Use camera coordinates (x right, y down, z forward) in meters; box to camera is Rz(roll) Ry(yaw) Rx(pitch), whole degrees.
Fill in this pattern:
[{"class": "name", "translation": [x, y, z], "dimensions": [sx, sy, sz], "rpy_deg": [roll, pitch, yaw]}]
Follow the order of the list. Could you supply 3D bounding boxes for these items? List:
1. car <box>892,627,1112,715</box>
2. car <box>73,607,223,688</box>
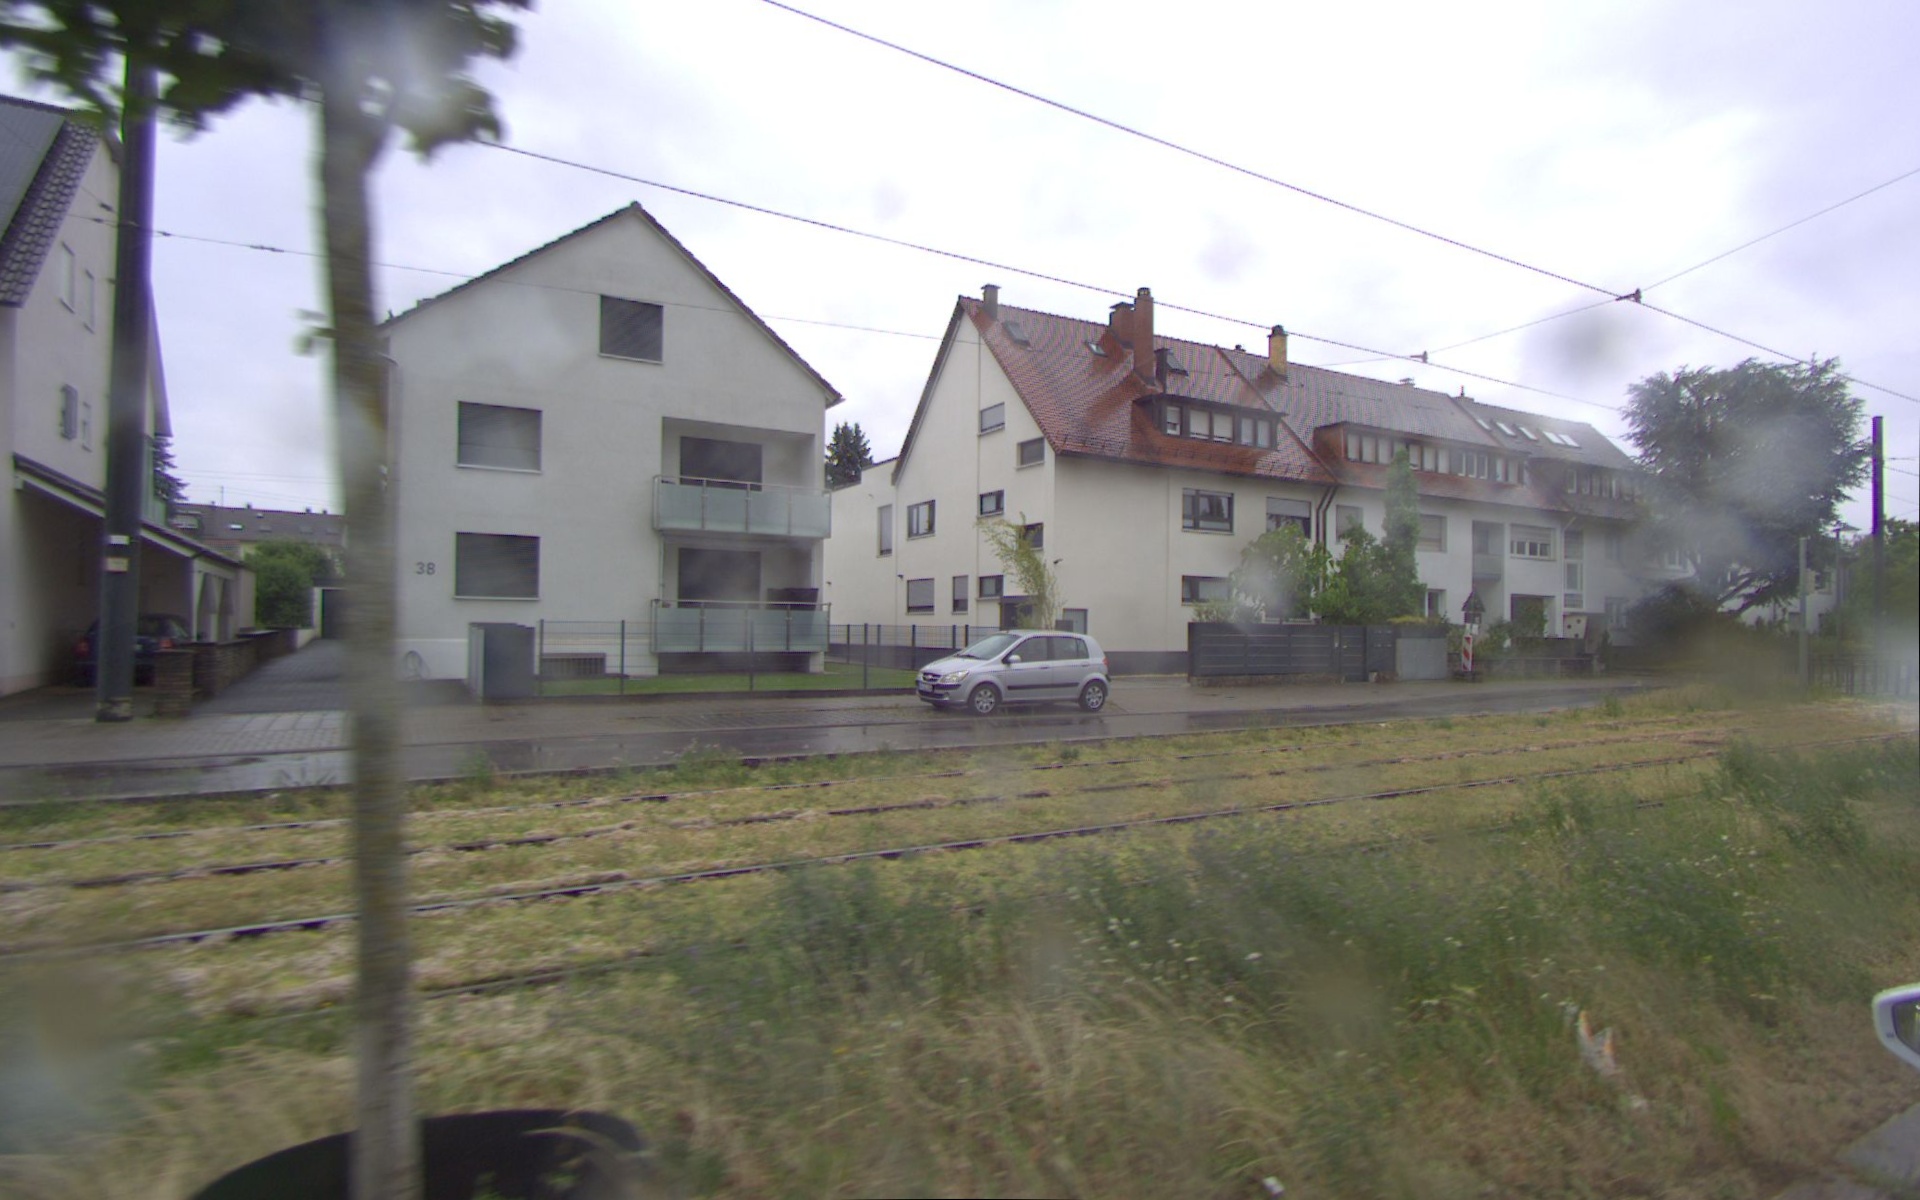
[{"class": "car", "translation": [0.798, 1.289, 18.798], "dimensions": [3.618, 1.432, 1.983], "rpy_deg": [3, -1, -32]}, {"class": "car", "translation": [-17.048, 0.942, 21.293], "dimensions": [1.820, 1.521, 3.968], "rpy_deg": [2, -1, -30]}]
